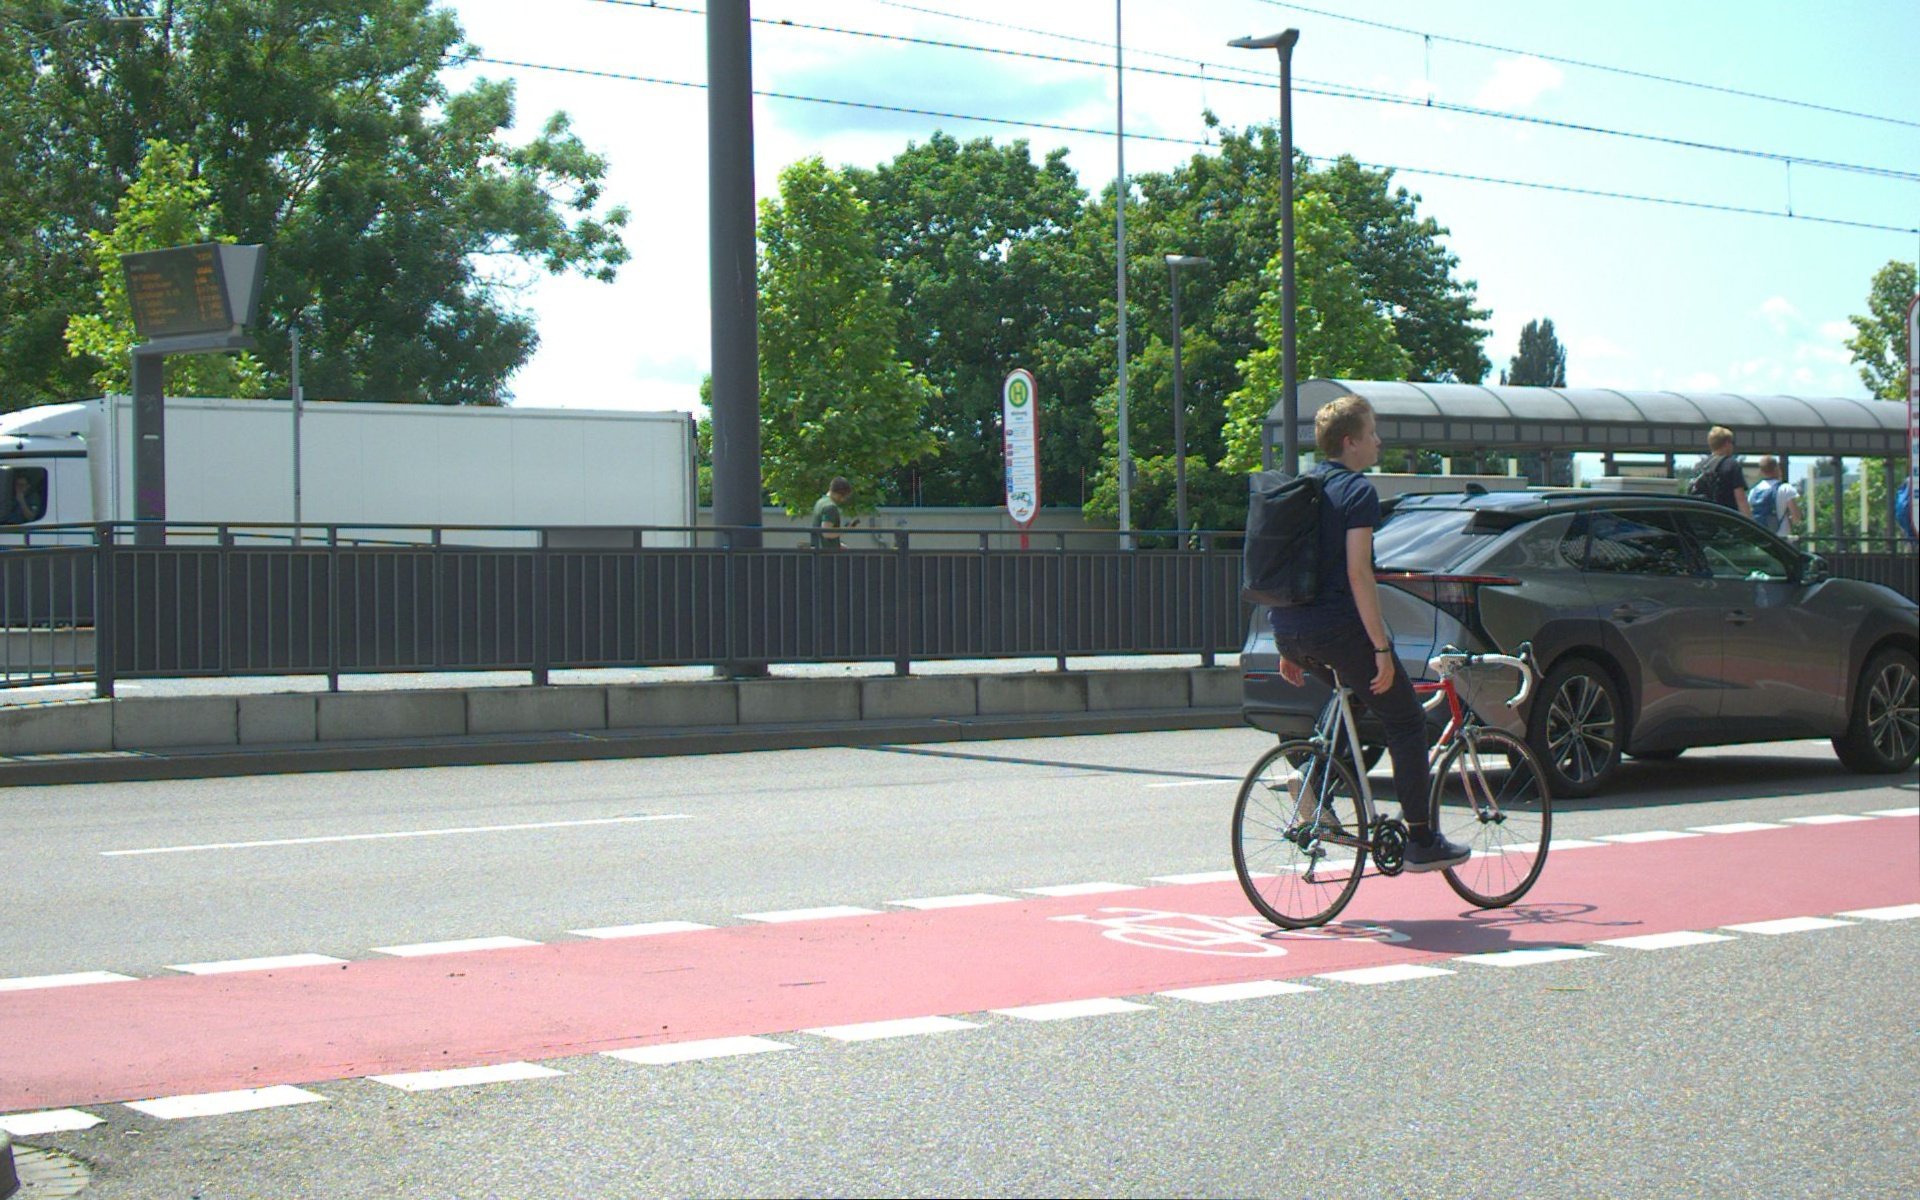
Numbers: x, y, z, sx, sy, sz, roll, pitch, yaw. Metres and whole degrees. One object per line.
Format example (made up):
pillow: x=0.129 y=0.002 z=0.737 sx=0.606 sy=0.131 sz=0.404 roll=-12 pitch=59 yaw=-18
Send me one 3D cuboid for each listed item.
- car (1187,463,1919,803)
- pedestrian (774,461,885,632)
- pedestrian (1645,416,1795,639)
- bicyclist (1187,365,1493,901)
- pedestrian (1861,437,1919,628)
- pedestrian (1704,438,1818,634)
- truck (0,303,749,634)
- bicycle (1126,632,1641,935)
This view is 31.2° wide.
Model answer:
car: x=3.517 y=0.100 z=19.095 sx=4.507 sy=1.669 sz=1.903 roll=-2 pitch=2 yaw=-42
pedestrian: x=-1.392 y=-0.575 z=36.760 sx=0.927 sy=1.801 sz=0.736 roll=-1 pitch=2 yaw=-41
pedestrian: x=6.720 y=-0.650 z=30.406 sx=0.991 sy=1.932 sz=0.875 roll=-2 pitch=3 yaw=-41
bicyclist: x=1.362 y=0.101 z=12.315 sx=0.921 sy=1.840 sz=0.611 roll=-1 pitch=2 yaw=-40
pedestrian: x=8.976 y=-0.631 z=31.994 sx=0.927 sy=1.749 sz=0.736 roll=-1 pitch=2 yaw=-41
pedestrian: x=7.773 y=-0.627 z=33.378 sx=0.873 sy=1.865 sz=0.677 roll=-1 pitch=2 yaw=-9
truck: x=-8.600 y=-1.738 z=47.083 sx=11.962 sy=4.090 sz=2.951 roll=-1 pitch=2 yaw=-39
bicycle: x=1.569 y=0.628 z=12.497 sx=2.018 sy=0.996 sz=0.622 roll=1 pitch=2 yaw=-40
